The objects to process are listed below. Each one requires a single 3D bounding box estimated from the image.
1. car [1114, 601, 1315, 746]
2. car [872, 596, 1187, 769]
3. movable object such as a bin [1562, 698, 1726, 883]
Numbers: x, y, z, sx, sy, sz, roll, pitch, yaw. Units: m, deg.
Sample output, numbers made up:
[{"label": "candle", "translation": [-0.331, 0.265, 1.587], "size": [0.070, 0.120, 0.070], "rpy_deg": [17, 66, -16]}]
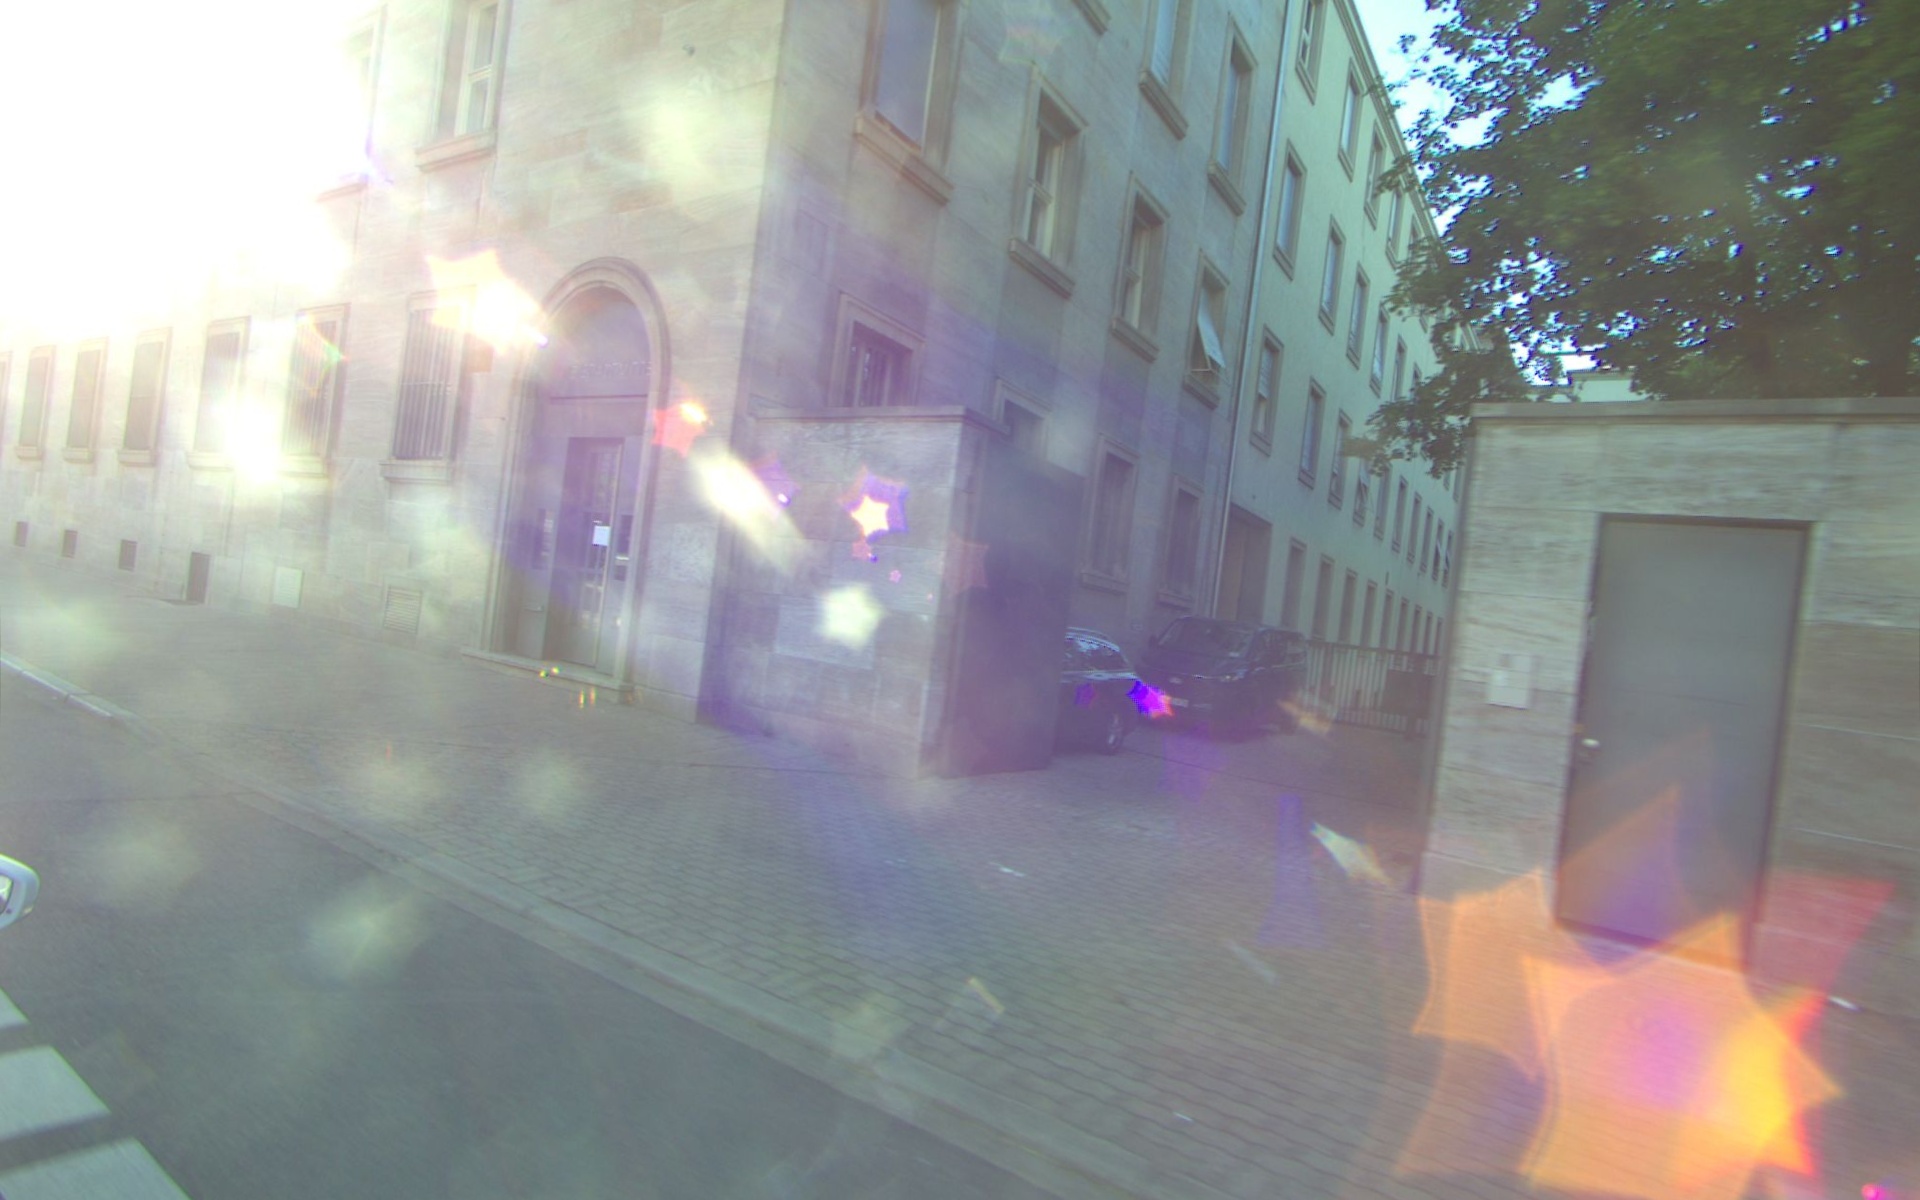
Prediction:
[{"label": "car", "translation": [4.661, 1.312, 17.865], "size": [1.916, 1.989, 4.626], "rpy_deg": [9, 0, 32]}, {"label": "car", "translation": [1.111, 1.028, 12.818], "size": [1.916, 1.551, 4.626], "rpy_deg": [9, 0, 32]}, {"label": "movable object such as a bin", "translation": [6.562, 1.769, 9.734], "size": [1.093, 1.485, 1.374], "rpy_deg": [7, -1, 33]}]
